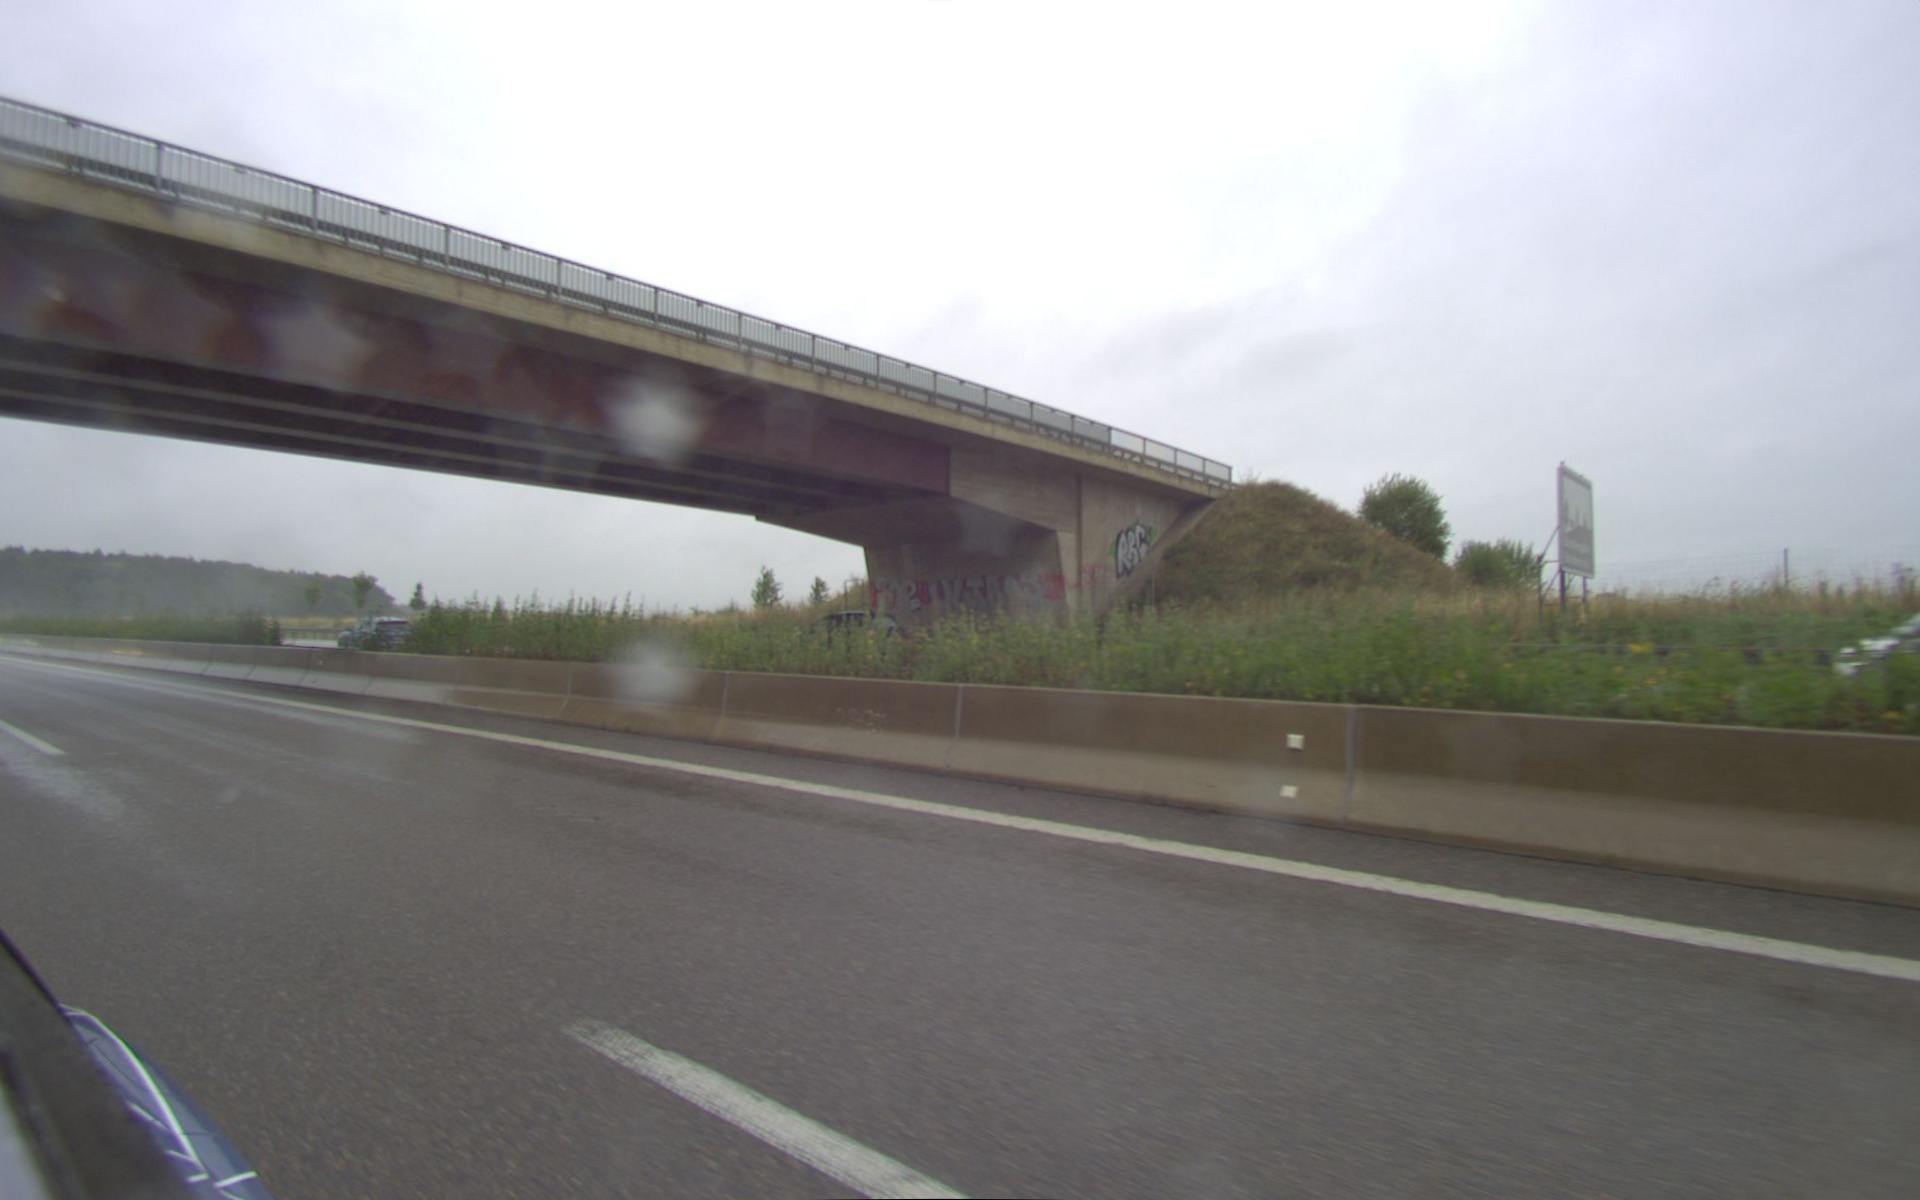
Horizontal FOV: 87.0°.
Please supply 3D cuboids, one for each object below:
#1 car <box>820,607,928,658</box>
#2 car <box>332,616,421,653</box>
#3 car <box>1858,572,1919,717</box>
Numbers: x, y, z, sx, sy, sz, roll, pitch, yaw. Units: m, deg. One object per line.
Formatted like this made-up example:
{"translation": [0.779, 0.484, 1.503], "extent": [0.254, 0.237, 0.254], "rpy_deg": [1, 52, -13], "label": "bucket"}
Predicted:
{"translation": [-2.432, 0.886, 28.146], "extent": [3.021, 1.342, 1.254], "rpy_deg": [-1, -1, 41], "label": "car"}
{"translation": [-23.044, 1.341, 39.939], "extent": [3.998, 1.342, 1.859], "rpy_deg": [-1, -1, 41], "label": "car"}
{"translation": [11.400, 0.416, 9.526], "extent": [4.345, 1.452, 1.445], "rpy_deg": [-1, -1, 41], "label": "car"}
